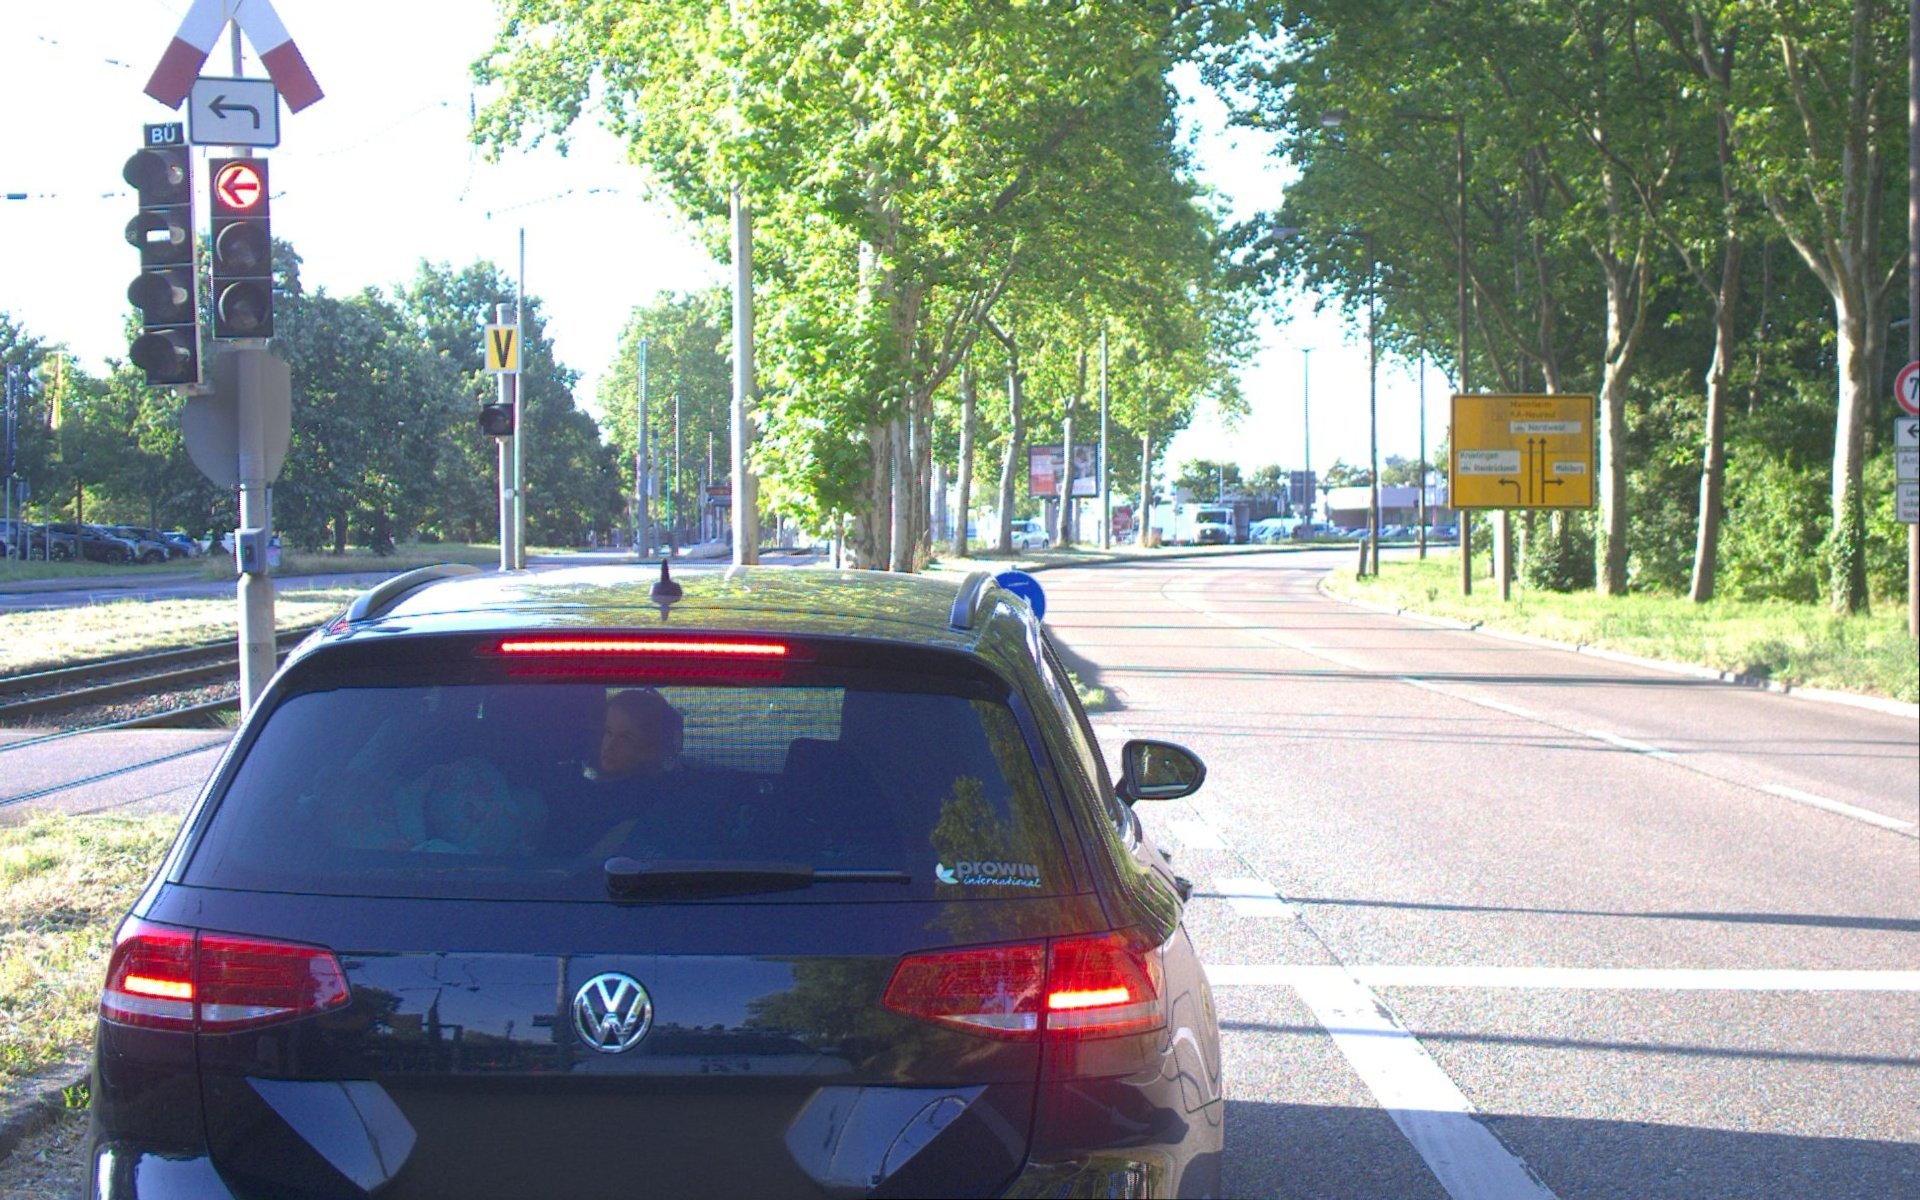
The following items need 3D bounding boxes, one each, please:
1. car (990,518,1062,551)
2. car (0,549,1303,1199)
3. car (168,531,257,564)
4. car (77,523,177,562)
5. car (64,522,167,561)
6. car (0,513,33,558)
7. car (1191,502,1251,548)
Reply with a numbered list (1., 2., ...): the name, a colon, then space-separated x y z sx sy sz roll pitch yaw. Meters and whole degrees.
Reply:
1. car: 3.053 -3.005 158.099 1.864 1.476 4.086 1 1 24
2. car: -0.479 0.653 6.405 1.795 1.459 3.583 1 1 -1
3. car: -36.509 -2.565 167.976 3.986 1.550 1.744 1 1 -4
4. car: -36.117 -2.491 149.063 3.986 1.615 1.744 1 1 -5
5. car: -35.824 -2.472 145.900 3.986 1.615 1.744 1 1 -5
6. car: -35.916 -2.377 124.995 3.986 1.615 1.744 1 1 -5
7. car: 14.622 -4.194 192.363 2.097 2.453 5.848 1 1 17
